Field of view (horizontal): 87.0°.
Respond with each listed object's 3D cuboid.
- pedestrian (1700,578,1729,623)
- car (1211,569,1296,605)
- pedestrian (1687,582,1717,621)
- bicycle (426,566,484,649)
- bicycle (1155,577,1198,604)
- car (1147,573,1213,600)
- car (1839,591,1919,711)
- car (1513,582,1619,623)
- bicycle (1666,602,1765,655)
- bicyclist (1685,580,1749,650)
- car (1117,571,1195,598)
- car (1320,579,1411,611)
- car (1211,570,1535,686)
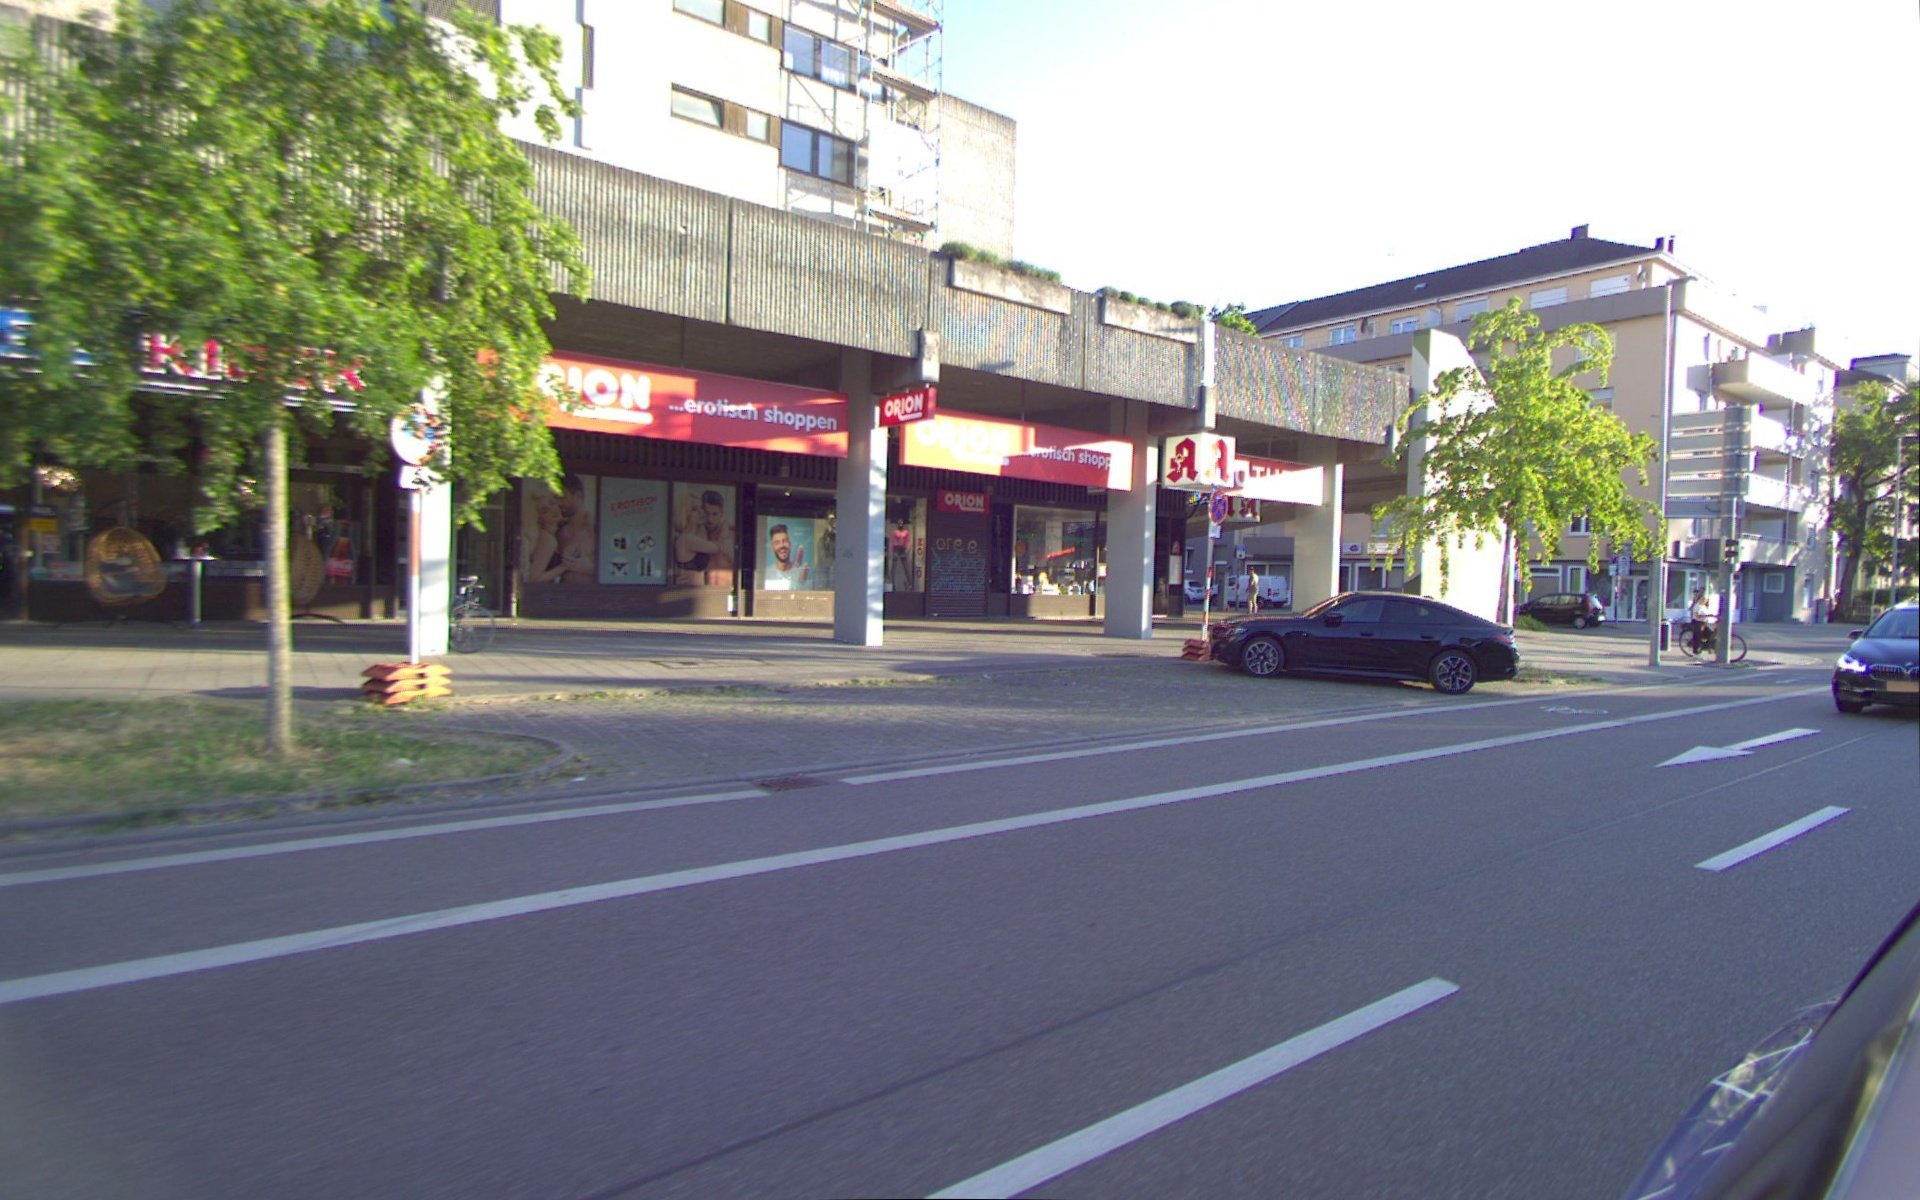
[{"bbox_3d":[32.070,-0.005,43.033,0.534,1.882,0.840,-1,2,-36],"label":"pedestrian"},{"bbox_3d":[17.219,-0.819,59.491,1.964,1.886,4.539,-4,5,-37],"label":"car"},{"bbox_3d":[32.295,0.046,44.069,0.752,1.635,0.822,-1,2,-35],"label":"pedestrian"},{"bbox_3d":[-7.270,0.081,14.540,0.425,1.061,1.577,1,4,-37],"label":"bicycle"},{"bbox_3d":[9.100,-0.383,42.523,1.889,1.071,0.782,1,2,-41],"label":"bicycle"},{"bbox_3d":[13.867,-0.877,63.970,1.576,1.504,3.999,0,3,-37],"label":"car"},{"bbox_3d":[14.282,0.667,14.325,4.702,1.538,1.826,0,0,-37],"label":"car"},{"bbox_3d":[27.334,0.080,45.740,1.586,1.578,3.816,-4,5,-36],"label":"car"},{"bbox_3d":[19.489,0.713,26.184,0.804,1.187,2.150,2,2,-3],"label":"bicycle"},{"bbox_3d":[19.453,0.368,26.036,0.804,1.713,0.962,2,2,-2],"label":"bicyclist"},{"bbox_3d":[11.907,-0.946,61.831,1.773,1.488,4.620,3,0,-38],"label":"car"},{"bbox_3d":[21.499,-0.283,53.815,1.628,1.457,4.223,-4,5,-41],"label":"car"},{"bbox_3d":[6.475,0.380,16.419,4.538,1.471,1.807,3,3,13],"label":"car"}]
